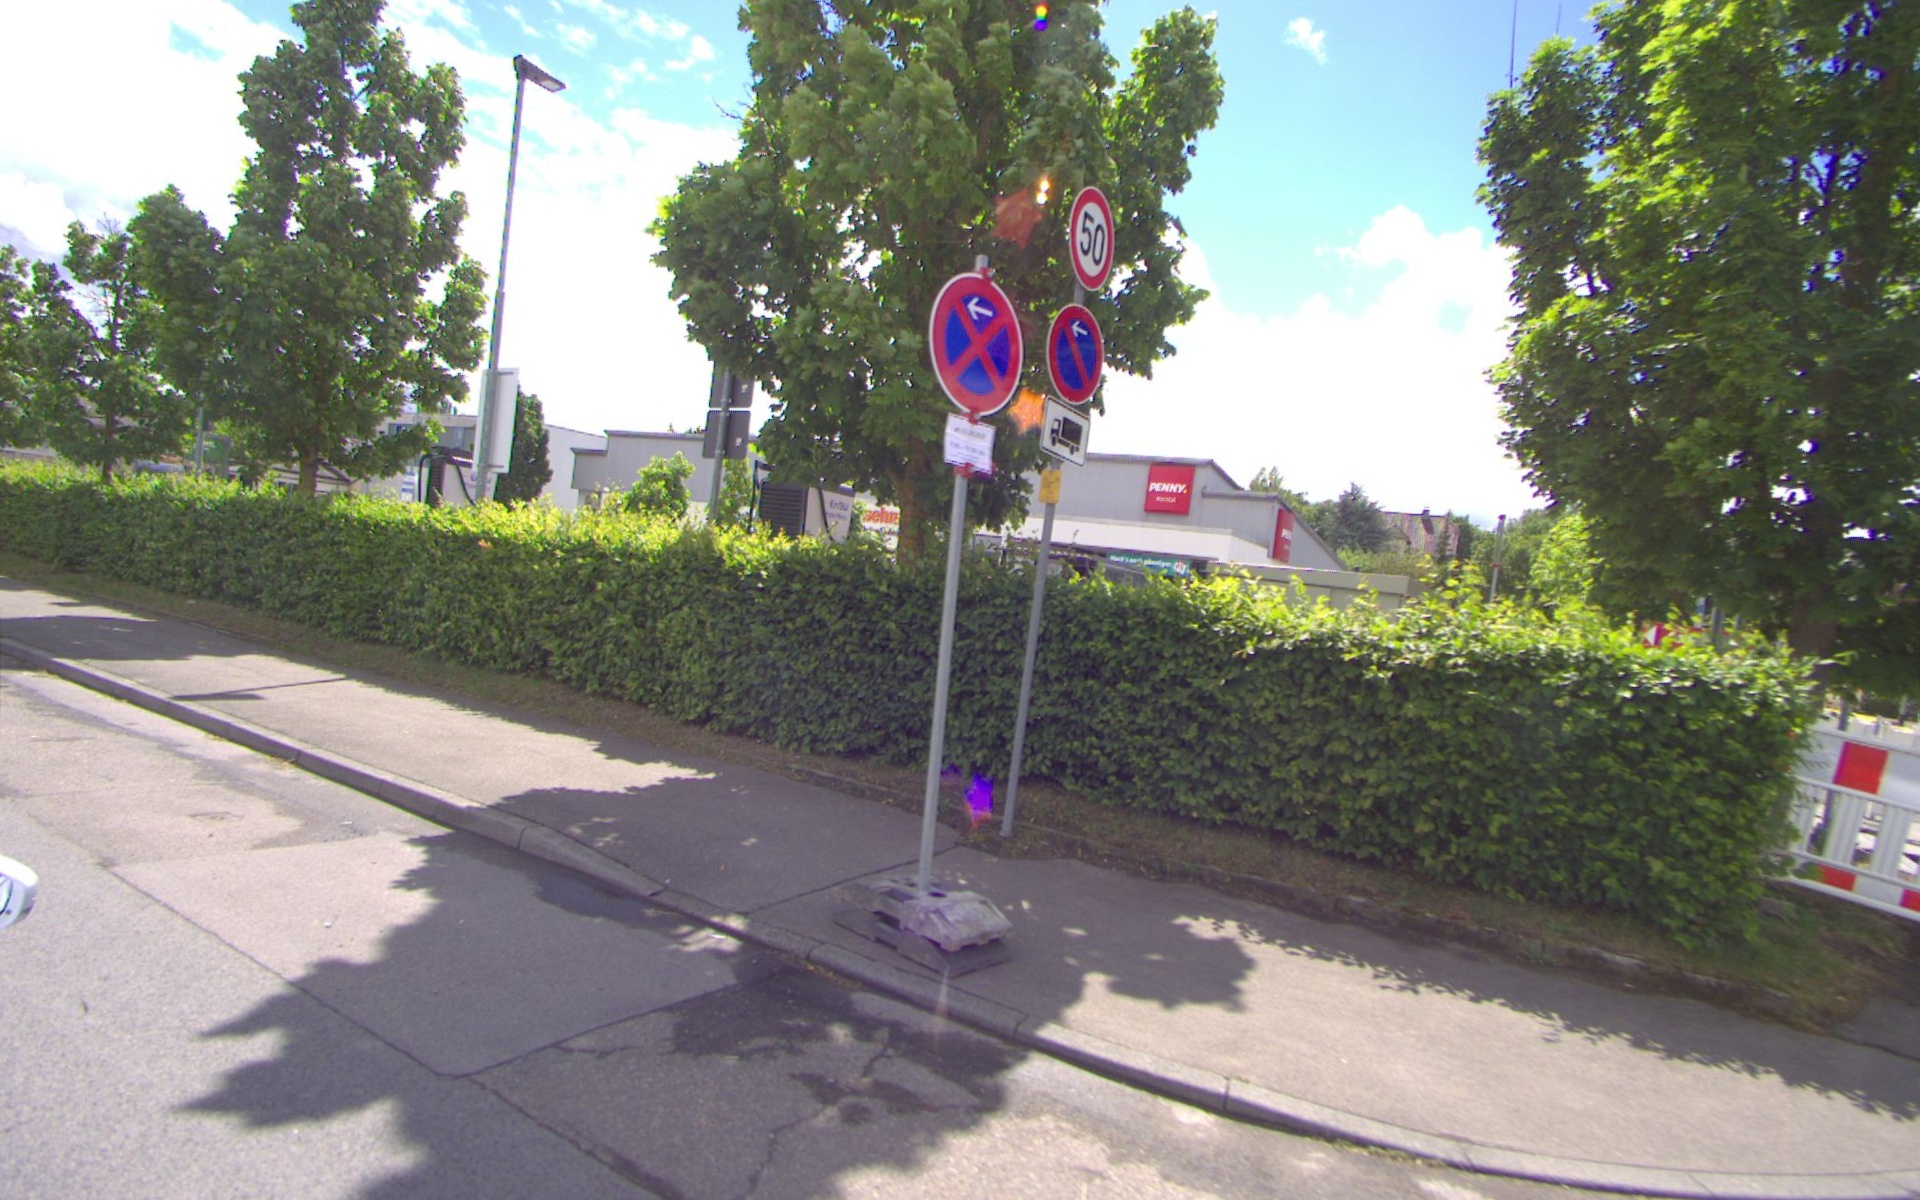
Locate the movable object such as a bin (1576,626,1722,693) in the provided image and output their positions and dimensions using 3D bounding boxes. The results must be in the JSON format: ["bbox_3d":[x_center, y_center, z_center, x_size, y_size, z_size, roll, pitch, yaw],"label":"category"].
[{"bbox_3d":[40.470,3.506,59.476,6.584,2.793,3.939,8,-2,32],"label":"movable object such as a bin"}]

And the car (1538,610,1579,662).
[{"bbox_3d":[41.362,2.552,69.611,1.901,2.955,5.170,8,-2,30],"label":"car"}]

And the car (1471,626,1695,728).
[{"bbox_3d":[13.721,1.688,22.319,3.936,1.603,1.749,8,-2,34],"label":"car"}]

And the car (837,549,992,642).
[{"bbox_3d":[-1.075,-0.060,25.736,1.966,1.725,3.998,8,-2,30],"label":"car"}]

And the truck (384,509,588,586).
[{"bbox_3d":[-30.204,-3.228,64.982,2.930,2.897,12.006,8,-2,32],"label":"truck"}]
